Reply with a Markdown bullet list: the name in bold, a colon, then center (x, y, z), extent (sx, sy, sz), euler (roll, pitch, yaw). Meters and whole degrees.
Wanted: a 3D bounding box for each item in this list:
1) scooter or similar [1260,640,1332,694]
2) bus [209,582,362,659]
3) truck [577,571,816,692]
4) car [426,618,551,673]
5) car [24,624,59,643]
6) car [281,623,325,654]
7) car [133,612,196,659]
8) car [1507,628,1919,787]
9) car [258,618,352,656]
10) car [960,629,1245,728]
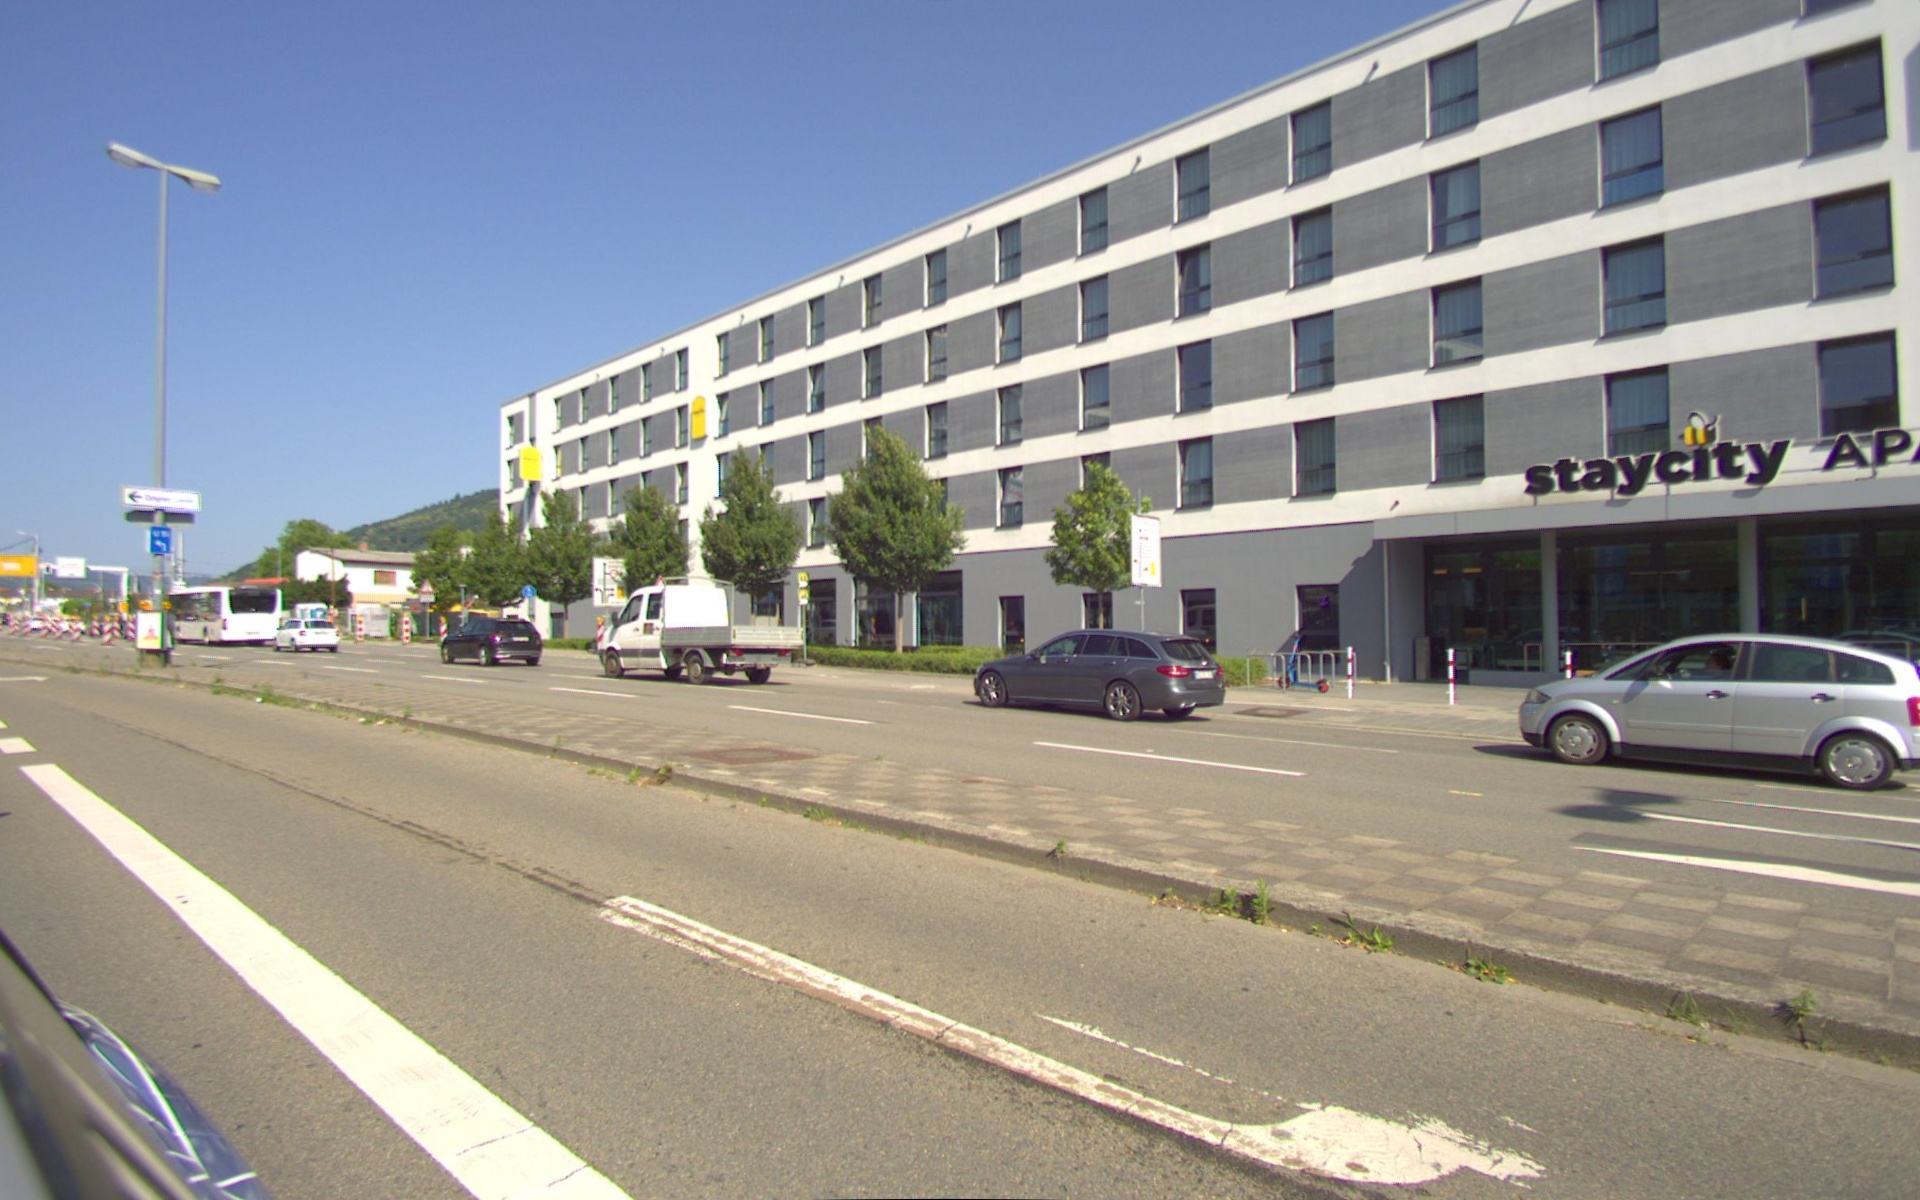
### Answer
- **scooter or similar**: center (7.415, 1.460, 22.367), extent (0.347, 1.121, 1.519), euler (1, -1, -45)
- **bus**: center (-30.714, 0.939, 45.750), extent (11.971, 3.102, 2.709), euler (-1, -3, 42)
- **truck**: center (-6.595, 0.712, 24.775), extent (6.435, 2.564, 2.332), euler (1, -4, 42)
- **car**: center (-15.215, 1.402, 32.543), extent (4.409, 1.590, 1.973), euler (0, 0, 40)
- **car**: center (-83.583, 3.061, 92.087), extent (3.586, 1.631, 1.698), euler (-1, -1, 37)
- **car**: center (-27.378, 1.582, 42.182), extent (2.220, 1.216, 1.044), euler (0, 1, 44)
- **car**: center (-37.130, 1.612, 47.197), extent (4.164, 2.029, 1.657), euler (0, 1, 43)
- **car**: center (8.400, 1.070, 11.093), extent (3.917, 1.449, 1.752), euler (-1, -4, 44)
- **car**: center (-28.404, 1.588, 43.846), extent (4.405, 1.497, 1.975), euler (0, -4, 37)
- **car**: center (2.318, 1.241, 17.311), extent (4.587, 1.438, 1.933), euler (-1, -2, 44)
